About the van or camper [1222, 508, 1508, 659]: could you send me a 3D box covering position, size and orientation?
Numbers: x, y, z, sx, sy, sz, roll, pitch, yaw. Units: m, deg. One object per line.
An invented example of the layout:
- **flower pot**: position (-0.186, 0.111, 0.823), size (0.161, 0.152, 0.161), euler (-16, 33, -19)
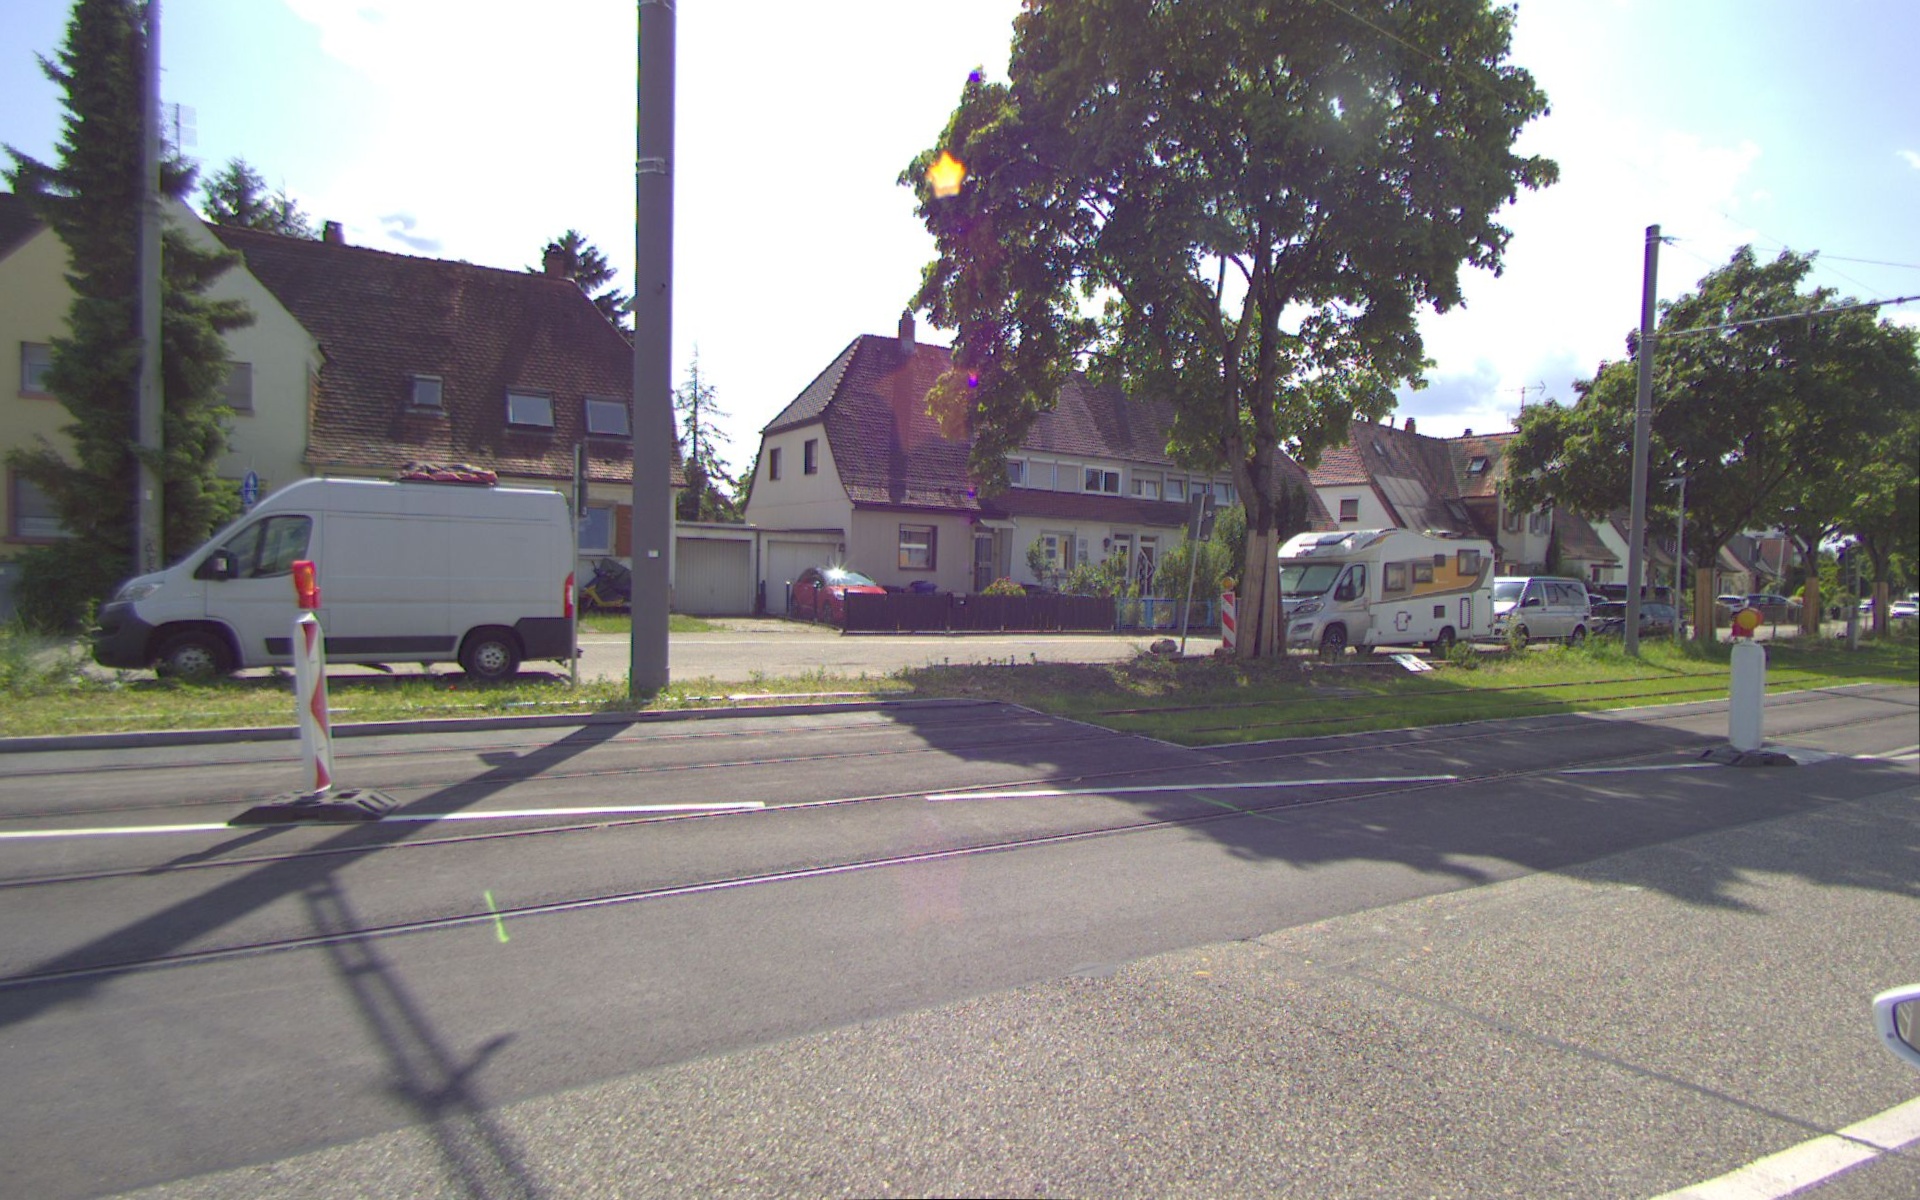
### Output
- **van or camper**: position (9.431, -0.325, 23.033), size (7.219, 3.010, 2.361), euler (1, 2, -34)

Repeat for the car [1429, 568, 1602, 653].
- **car**: position (14.883, 0.254, 26.835), size (4.851, 2.041, 1.981), euler (1, 2, -33)

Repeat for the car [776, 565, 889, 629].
- **car**: position (-3.456, -0.120, 26.789), size (1.652, 1.542, 3.598), euler (1, 2, -31)

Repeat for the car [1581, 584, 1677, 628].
- **car**: position (33.810, 0.279, 50.874), size (3.829, 1.922, 1.938), euler (5, 3, 33)

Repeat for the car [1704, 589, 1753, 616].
- **car**: position (47.305, 0.159, 61.800), size (4.015, 1.538, 1.712), euler (0, 2, -43)

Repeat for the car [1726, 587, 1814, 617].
- **car**: position (55.723, 0.112, 69.132), size (2.051, 1.861, 4.426), euler (0, 2, -43)

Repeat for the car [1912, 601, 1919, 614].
- **car**: position (113.777, 0.885, 118.680), size (1.709, 1.525, 4.543), euler (1, 1, 42)

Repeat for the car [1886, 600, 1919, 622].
- **car**: position (81.784, 0.939, 86.743), size (5.039, 1.792, 1.866), euler (0, 2, -39)

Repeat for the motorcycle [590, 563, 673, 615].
- **motorcycle**: position (-8.532, -0.281, 26.151), size (1.987, 1.289, 0.570), euler (0, 2, -44)

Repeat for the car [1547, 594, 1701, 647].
- **car**: position (19.886, 0.600, 30.036), size (4.750, 1.406, 1.844), euler (1, 2, -29)

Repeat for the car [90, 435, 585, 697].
- **car**: position (-7.453, -0.354, 12.576), size (4.858, 2.704, 2.142), euler (1, 2, -31)

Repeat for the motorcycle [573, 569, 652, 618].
- **motorcycle**: position (-8.672, -0.162, 25.104), size (1.774, 1.185, 0.493), euler (1, 2, -33)
